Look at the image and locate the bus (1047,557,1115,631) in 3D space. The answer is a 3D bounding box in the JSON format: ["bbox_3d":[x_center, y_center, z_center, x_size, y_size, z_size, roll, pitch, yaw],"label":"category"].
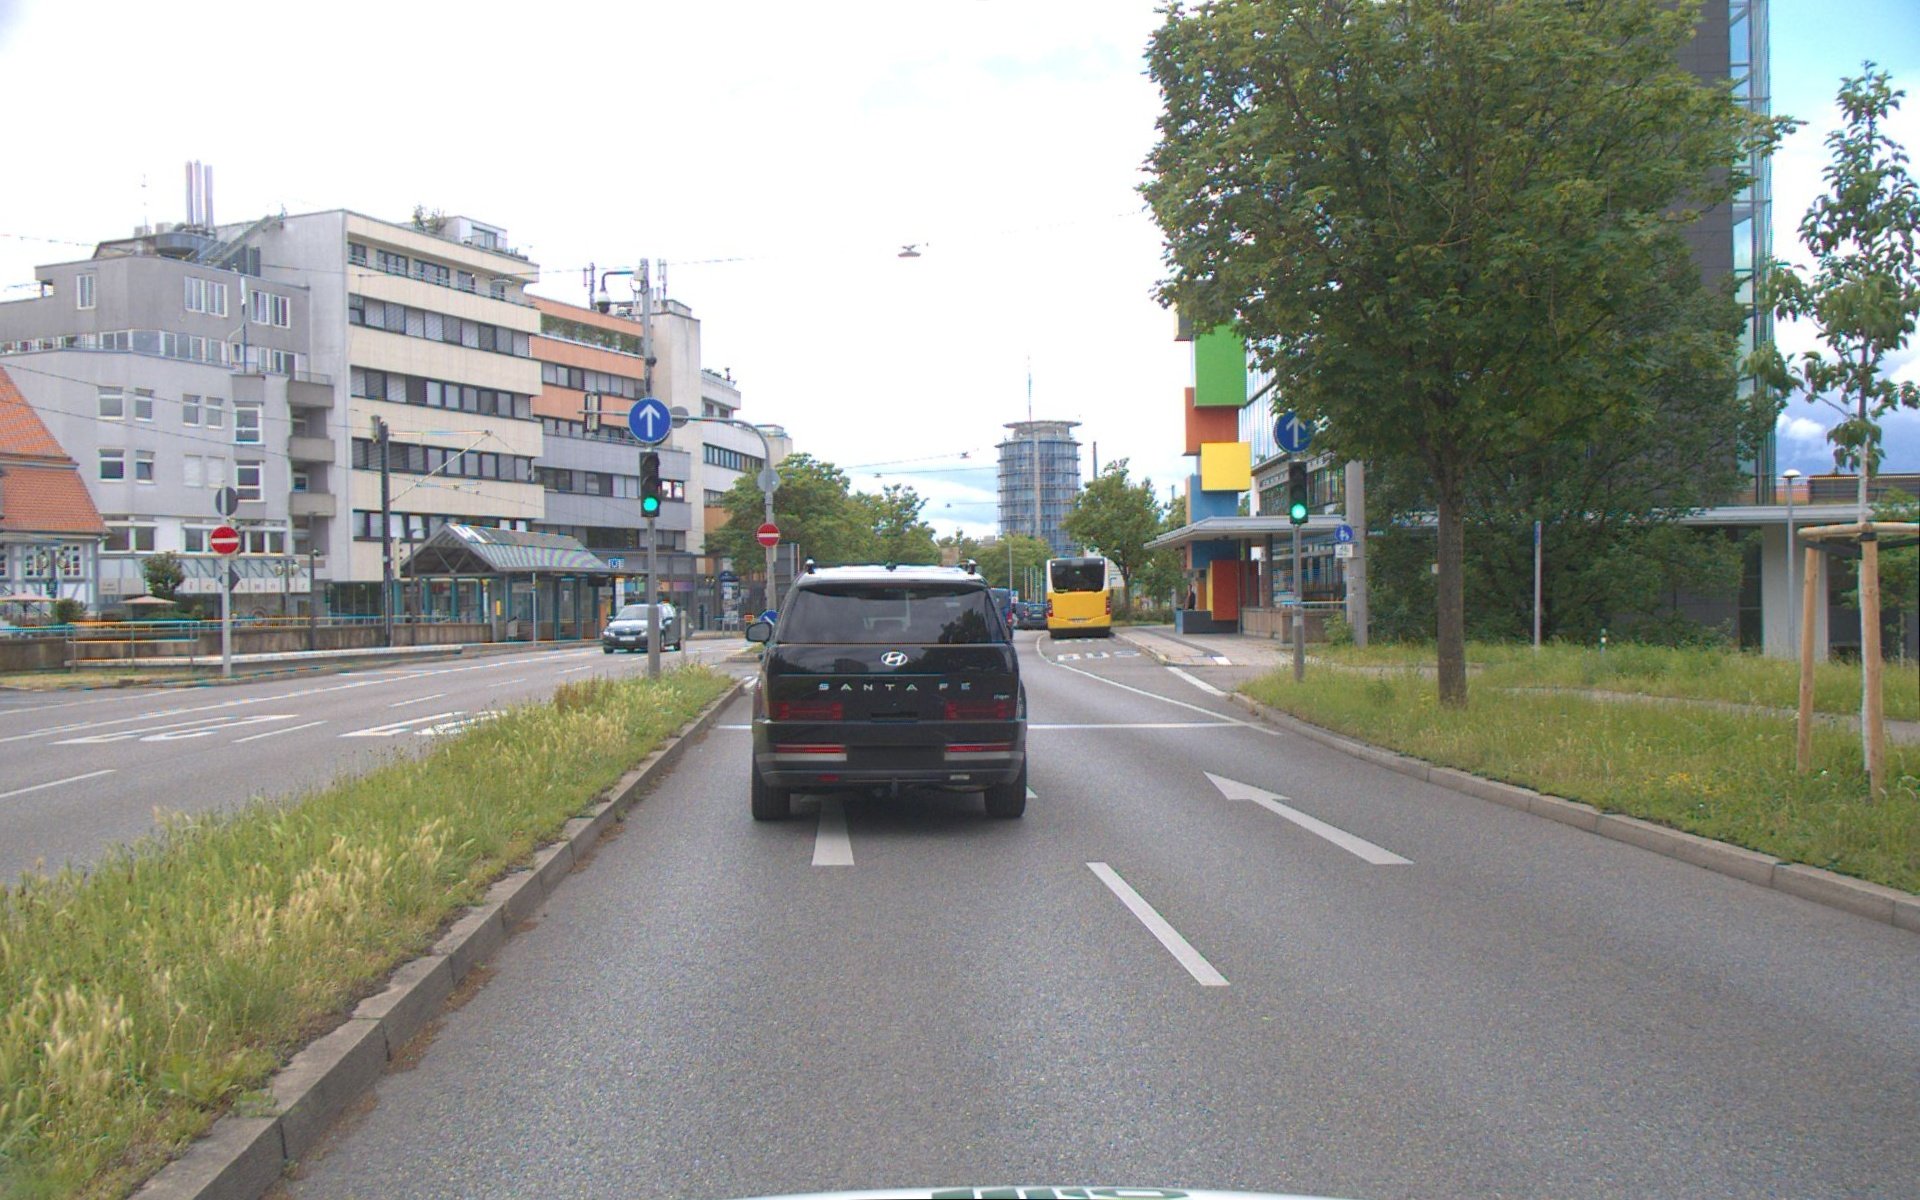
[{"bbox_3d":[5.735,-0.247,78.090,2.890,3.166,9.981,-2,0,4],"label":"bus"}]

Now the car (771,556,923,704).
[{"bbox_3d":[-1.789,0.382,24.694,1.867,2.003,4.626,0,1,-9],"label":"car"}]

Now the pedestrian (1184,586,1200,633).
[{"bbox_3d":[8.611,0.357,61.378,0.513,1.702,0.733,-1,-1,3],"label":"pedestrian"}]

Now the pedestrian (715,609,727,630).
[{"bbox_3d":[-18.768,1.538,130.118,0.716,1.702,0.581,-1,-1,27],"label":"pedestrian"}]

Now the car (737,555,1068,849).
[{"bbox_3d":[-0.628,0.592,12.268,1.867,1.762,4.436,0,1,-10],"label":"car"}]

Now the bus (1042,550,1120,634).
[{"bbox_3d":[5.027,-0.279,68.597,2.904,3.171,9.248,-2,0,4],"label":"bus"}]

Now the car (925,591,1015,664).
[{"bbox_3d":[0.175,0.606,38.922,1.864,1.569,4.707,1,1,-3],"label":"car"}]

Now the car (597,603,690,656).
[{"bbox_3d":[-9.456,0.862,49.736,1.761,1.480,4.613,-1,0,2],"label":"car"}]

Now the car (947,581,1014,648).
[{"bbox_3d":[0.579,0.385,48.979,1.863,1.891,4.709,1,1,0],"label":"car"}]

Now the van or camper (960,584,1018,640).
[{"bbox_3d":[1.048,0.418,62.359,1.953,1.951,4.407,0,1,-2],"label":"van or camper"}]

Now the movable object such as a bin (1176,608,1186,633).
[{"bbox_3d":[8.121,0.764,60.781,0.348,0.913,0.462,-1,-1,3],"label":"movable object such as a bin"}]
